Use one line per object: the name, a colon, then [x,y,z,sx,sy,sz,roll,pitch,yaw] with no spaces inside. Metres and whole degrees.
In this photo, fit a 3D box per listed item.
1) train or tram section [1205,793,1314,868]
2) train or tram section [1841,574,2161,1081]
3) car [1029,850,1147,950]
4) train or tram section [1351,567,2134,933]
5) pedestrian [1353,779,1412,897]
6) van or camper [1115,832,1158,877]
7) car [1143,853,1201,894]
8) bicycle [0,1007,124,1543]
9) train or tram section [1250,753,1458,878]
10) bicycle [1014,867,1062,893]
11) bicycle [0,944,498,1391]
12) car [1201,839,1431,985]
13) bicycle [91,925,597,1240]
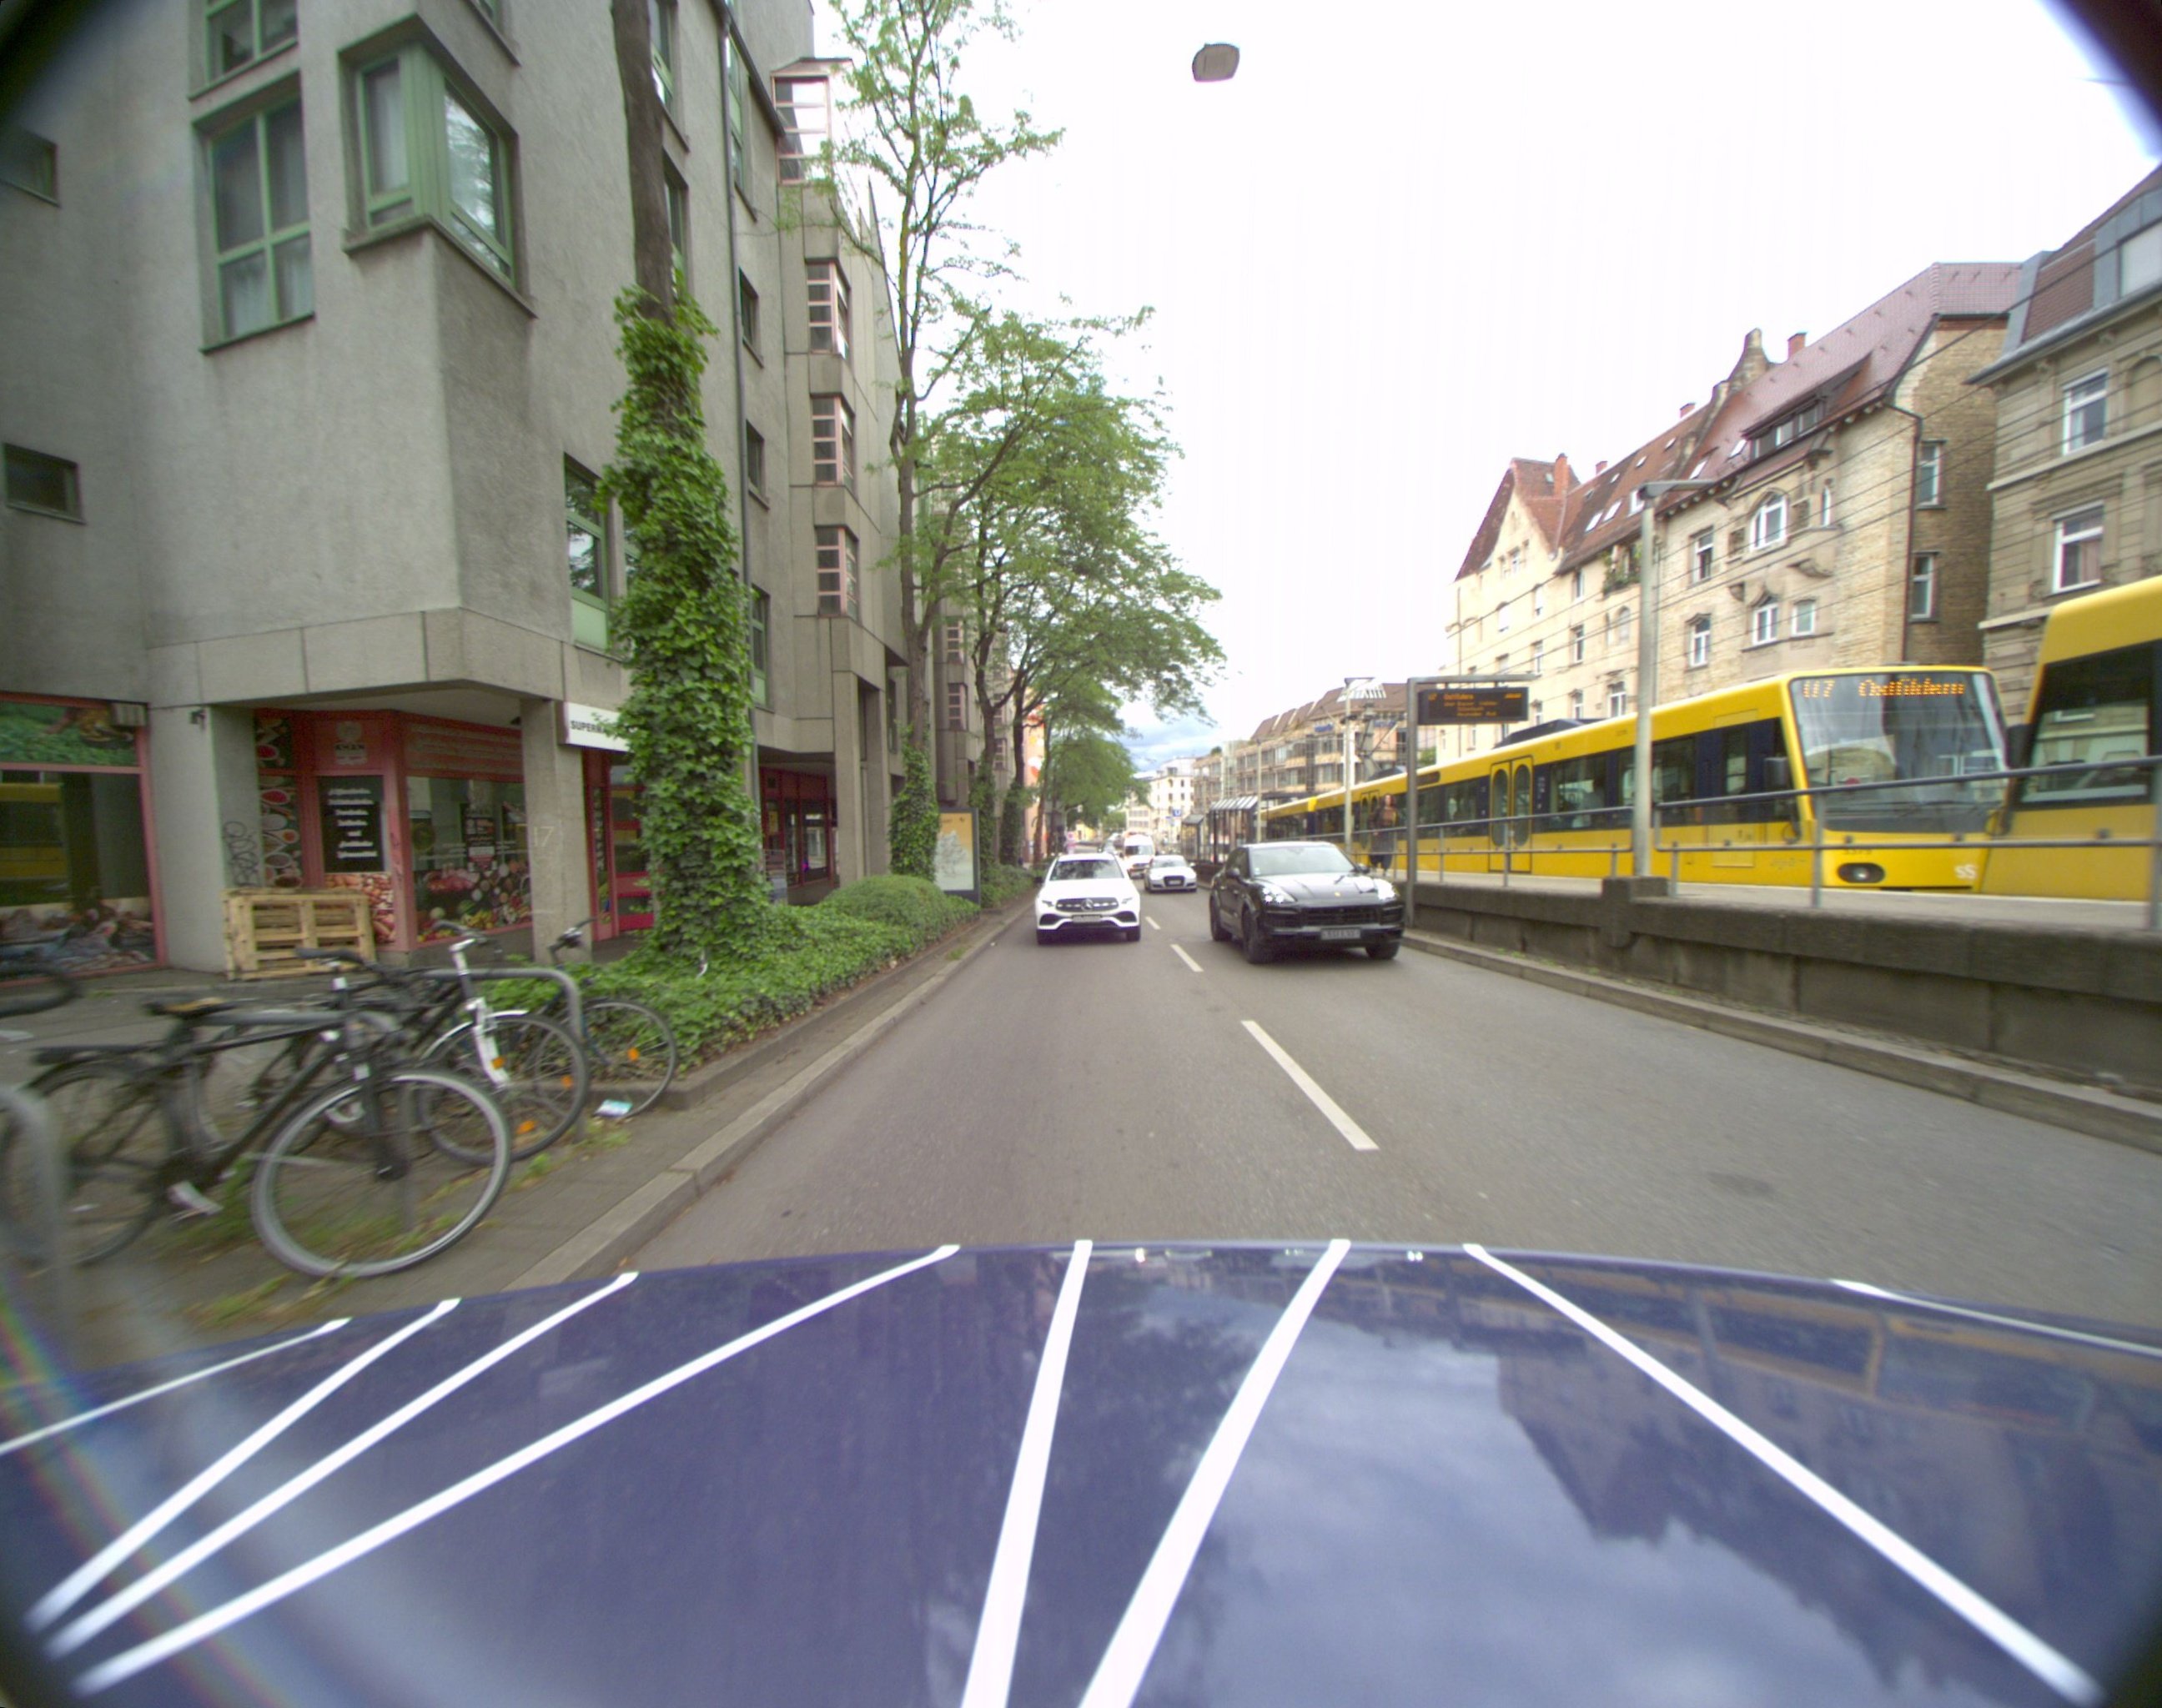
train or tram section: [9.666,-1.147,43.232,2.888,3.399,14.230,-4,0,1]
train or tram section: [9.228,-0.265,0.631,2.889,3.641,14.232,1,-1,0]
car: [0.164,0.775,15.265,1.935,1.622,4.773,-2,0,1]
train or tram section: [9.243,-1.061,14.832,2.930,3.538,14.230,-4,0,1]
pedestrian: [5.990,-0.309,15.135,0.838,2.271,0.772,-1,1,1]
van or camper: [3.407,0.023,48.091,2.208,2.543,6.373,-3,0,0]
car: [3.624,0.732,31.030,1.897,1.466,4.531,-2,0,1]
bicycle: [-3.227,0.988,1.680,1.424,1.214,0.542,2,0,-4]
train or tram section: [9.460,-1.132,29.048,2.888,3.421,14.230,-4,0,1]
bicycle: [-1.980,1.188,34.902,2.093,1.079,0.712,-4,1,-7]
bicycle: [-3.023,0.952,2.480,1.745,1.214,0.542,-1,1,-4]
car: [3.194,0.694,11.504,2.032,1.675,4.781,-2,0,1]
bicycle: [-3.291,0.987,3.505,1.692,1.214,0.542,-2,1,-4]
